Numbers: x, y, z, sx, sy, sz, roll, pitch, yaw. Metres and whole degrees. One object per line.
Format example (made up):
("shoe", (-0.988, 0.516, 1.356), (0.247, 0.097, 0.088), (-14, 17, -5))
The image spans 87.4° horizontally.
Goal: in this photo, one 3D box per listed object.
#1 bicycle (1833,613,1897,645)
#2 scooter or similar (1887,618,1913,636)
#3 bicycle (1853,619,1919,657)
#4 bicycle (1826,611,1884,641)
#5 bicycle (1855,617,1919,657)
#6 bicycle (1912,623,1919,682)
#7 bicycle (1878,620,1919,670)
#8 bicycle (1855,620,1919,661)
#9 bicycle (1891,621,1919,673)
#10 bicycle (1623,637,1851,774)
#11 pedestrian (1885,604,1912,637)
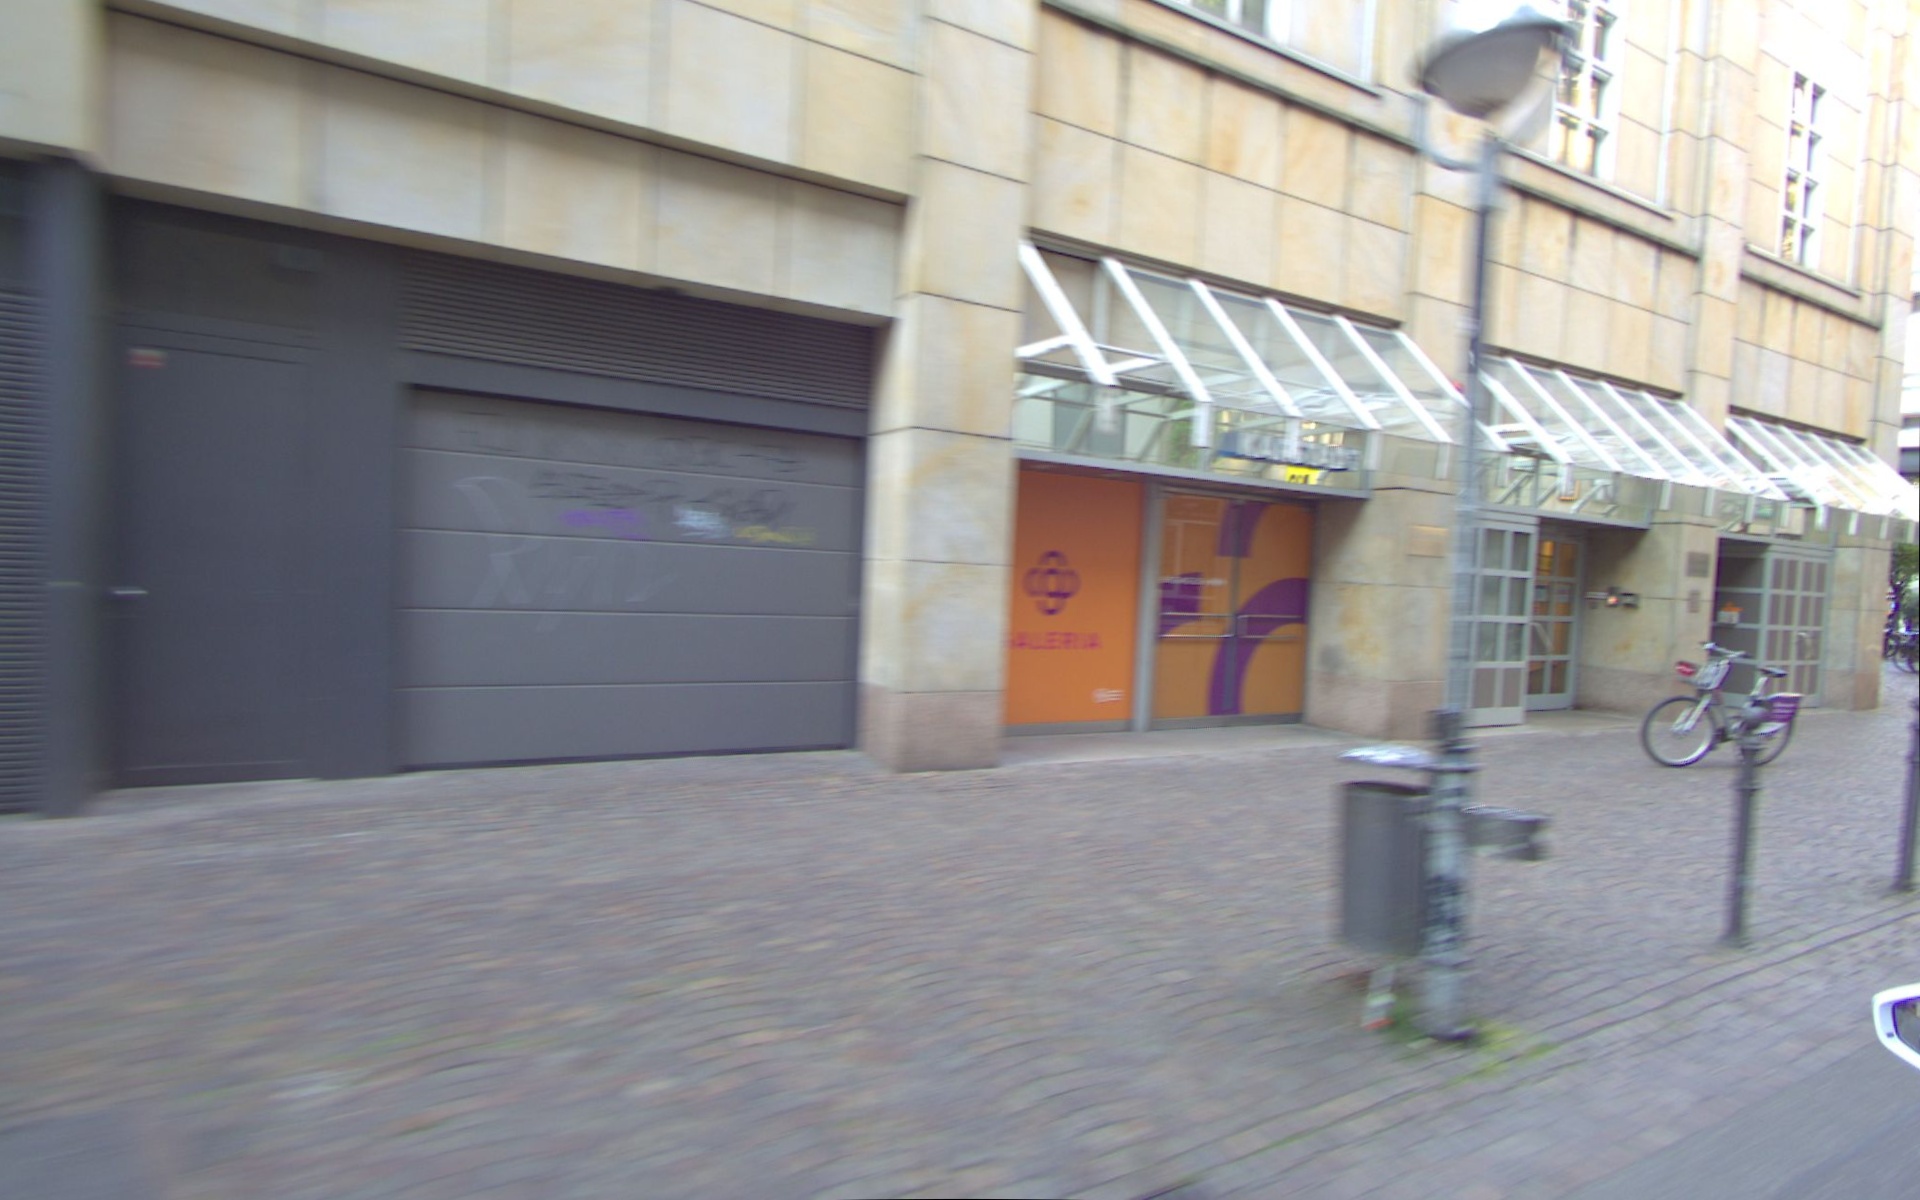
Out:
("bicycle", (37.634, 1.200, 41.780), (1.892, 1.198, 0.692), (4, 3, 44))
("scooter or similar", (48.193, 1.381, 51.516), (0.880, 0.854, 0.907), (3, 2, 39))
("bicycle", (32.487, 1.328, 35.060), (1.892, 1.198, 0.692), (4, 3, 44))
("bicycle", (40.236, 1.144, 45.173), (1.892, 1.198, 0.692), (4, 3, 44))
("bicycle", (30.586, 1.198, 32.854), (1.892, 1.198, 0.692), (4, 3, 44))
("bicycle", (20.794, 1.140, 20.524), (1.892, 1.198, 0.692), (4, 3, 44))
("bicycle", (24.373, 1.152, 25.206), (1.892, 1.198, 0.692), (4, 3, 44))
("bicycle", (29.972, 1.292, 32.177), (1.892, 1.198, 0.692), (4, 3, 44))
("bicycle", (23.761, 1.178, 24.189), (1.892, 1.198, 0.692), (4, 3, 44))
("bicycle", (7.095, 0.945, 9.186), (1.747, 1.127, 0.693), (2, 2, -15))
("pedestrian", (48.771, 1.037, 52.228), (0.880, 1.661, 0.907), (3, 2, 39))
